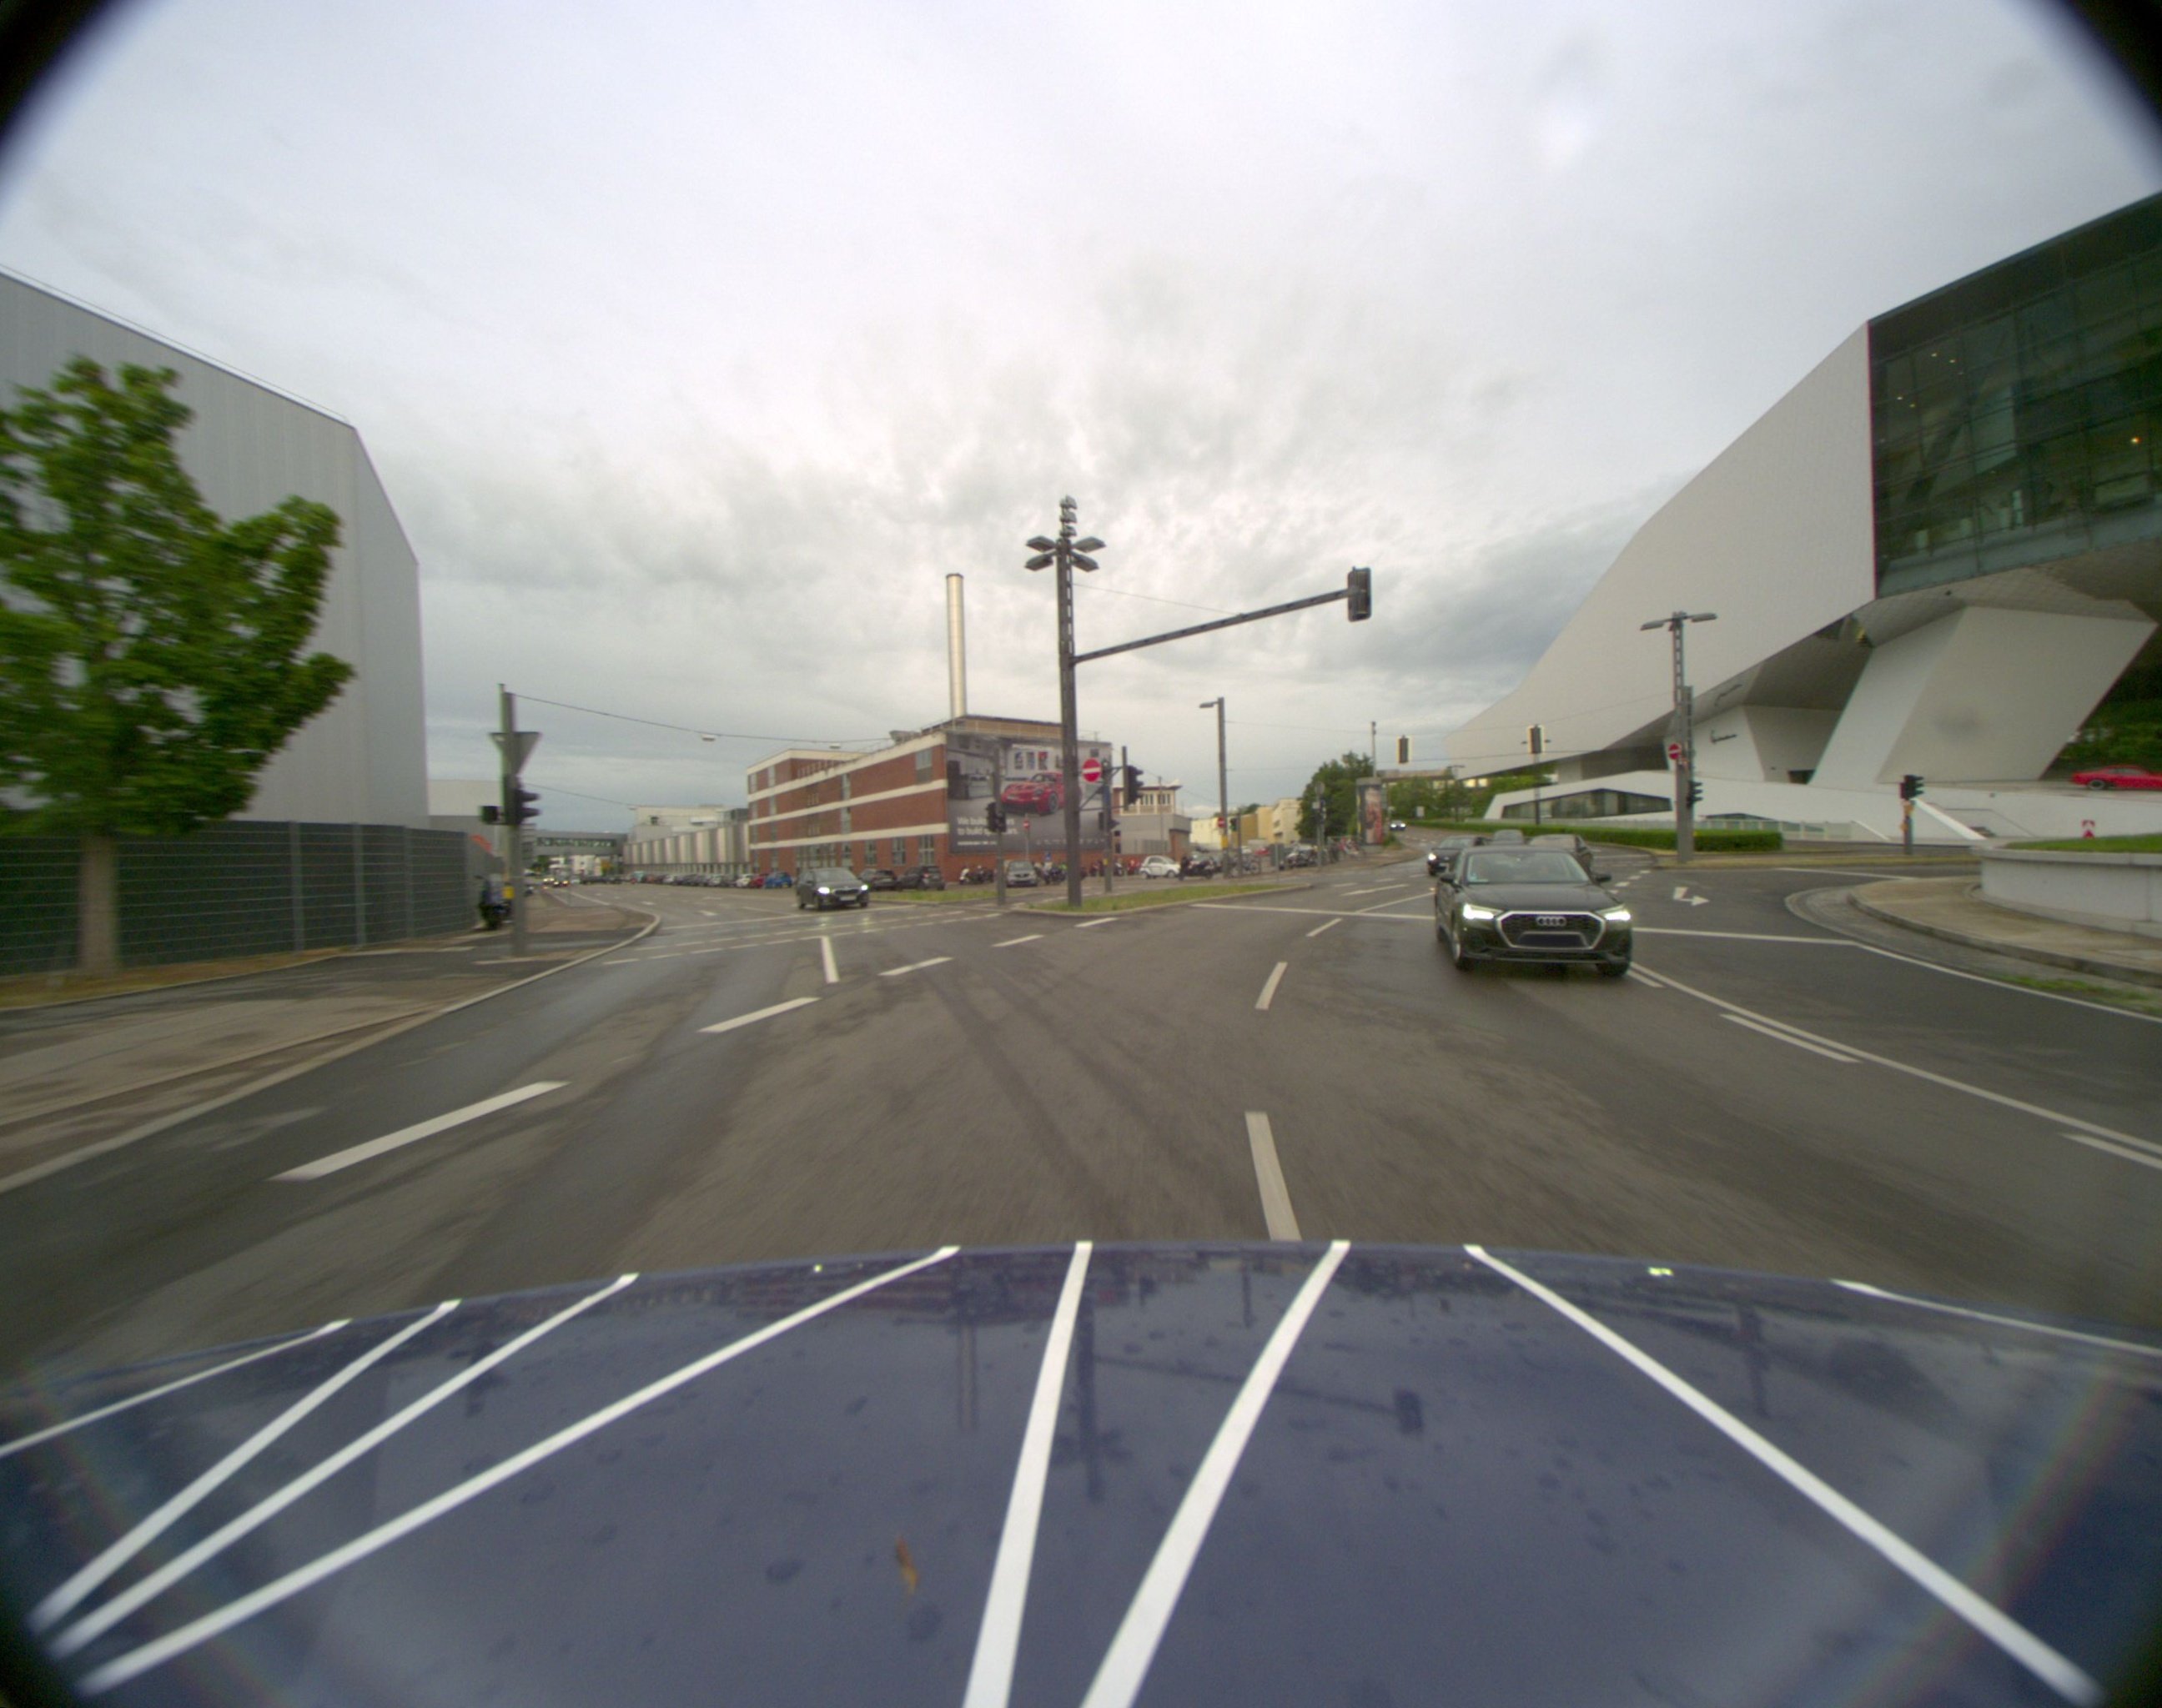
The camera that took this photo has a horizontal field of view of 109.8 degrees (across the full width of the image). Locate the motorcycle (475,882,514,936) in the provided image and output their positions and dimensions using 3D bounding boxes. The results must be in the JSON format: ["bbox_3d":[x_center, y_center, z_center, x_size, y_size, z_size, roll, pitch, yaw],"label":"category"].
[{"bbox_3d":[-15.311,1.401,19.875,0.656,1.303,2.096,-3,0,-35],"label":"motorcycle"}]

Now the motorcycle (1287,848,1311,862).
[{"bbox_3d":[16.126,0.076,56.237,1.615,0.917,0.421,-4,3,3],"label":"motorcycle"}]

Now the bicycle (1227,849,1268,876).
[{"bbox_3d":[8.268,0.412,37.708,2.075,1.124,0.420,-6,3,-25],"label":"bicycle"}]

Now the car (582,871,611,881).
[{"bbox_3d":[-84.982,3.831,133.351,4.007,1.550,1.610,-4,1,-39],"label":"car"}]

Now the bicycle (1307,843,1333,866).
[{"bbox_3d":[12.879,0.009,40.925,1.747,1.078,0.347,-6,4,-39],"label":"bicycle"}]

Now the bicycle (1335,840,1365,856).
[{"bbox_3d":[16.468,-0.377,46.515,1.612,0.916,0.422,-2,2,30],"label":"bicycle"}]

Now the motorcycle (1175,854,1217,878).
[{"bbox_3d":[5.865,0.639,38.982,2.089,1.139,0.489,-3,3,39],"label":"motorcycle"}]

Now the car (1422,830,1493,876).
[{"bbox_3d":[14.880,-0.081,29.908,1.690,1.499,4.017,-2,3,37],"label":"car"}]

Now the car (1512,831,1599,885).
[{"bbox_3d":[16.169,0.099,25.804,1.813,1.431,4.309,-2,3,41],"label":"car"}]

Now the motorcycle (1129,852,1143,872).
[{"bbox_3d":[4.070,0.605,56.350,0.523,1.326,1.671,-4,3,18],"label":"motorcycle"}]

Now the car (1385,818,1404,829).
[{"bbox_3d":[45.995,-4.519,111.472,1.815,1.430,4.306,-2,0,12],"label":"car"}]

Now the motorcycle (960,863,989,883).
[{"bbox_3d":[-6.810,1.187,48.593,1.650,1.105,0.543,-6,3,-28],"label":"motorcycle"}]

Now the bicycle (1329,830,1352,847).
[{"bbox_3d":[18.363,-1.101,53.752,1.542,1.149,0.451,-1,4,13],"label":"bicycle"}]

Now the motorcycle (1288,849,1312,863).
[{"bbox_3d":[15.861,0.154,55.059,1.615,0.917,0.421,-4,3,5],"label":"motorcycle"}]

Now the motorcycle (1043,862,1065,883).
[{"bbox_3d":[-1.572,1.046,43.490,0.495,1.140,1.720,-6,3,-27],"label":"motorcycle"}]

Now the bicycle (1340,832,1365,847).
[{"bbox_3d":[18.916,-1.004,52.901,1.705,0.917,0.485,-3,3,-18],"label":"bicycle"}]

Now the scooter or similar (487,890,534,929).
[{"bbox_3d":[-16.528,1.608,22.045,0.385,1.023,1.270,-3,0,-2],"label":"scooter or similar"}]

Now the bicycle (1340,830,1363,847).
[{"bbox_3d":[18.467,-1.075,51.947,1.463,1.068,0.442,-3,4,-13],"label":"bicycle"}]

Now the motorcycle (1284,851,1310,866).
[{"bbox_3d":[14.939,0.307,52.568,1.614,0.917,0.482,-4,3,11],"label":"motorcycle"}]

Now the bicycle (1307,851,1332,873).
[{"bbox_3d":[13.098,0.447,41.669,1.747,1.078,0.347,-6,4,-39],"label":"bicycle"}]

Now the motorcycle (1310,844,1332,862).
[{"bbox_3d":[13.712,-0.074,43.370,0.546,0.890,1.747,-1,4,41],"label":"motorcycle"}]

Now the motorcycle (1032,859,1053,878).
[{"bbox_3d":[-2.514,0.938,49.576,0.545,1.174,1.709,-6,3,-32],"label":"motorcycle"}]

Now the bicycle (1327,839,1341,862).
[{"bbox_3d":[14.376,-0.234,43.109,0.399,1.169,2.018,-2,3,27],"label":"bicycle"}]

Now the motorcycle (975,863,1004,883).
[{"bbox_3d":[-5.786,1.168,48.032,1.604,1.114,0.543,-6,3,-28],"label":"motorcycle"}]

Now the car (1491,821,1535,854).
[{"bbox_3d":[22.991,-0.895,40.540,1.746,1.466,4.074,-3,2,27],"label":"car"}]

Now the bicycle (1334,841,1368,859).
[{"bbox_3d":[15.625,-0.229,43.967,1.741,0.956,0.422,-2,3,26],"label":"bicycle"}]

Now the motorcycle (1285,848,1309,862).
[{"bbox_3d":[16.242,0.067,57.084,1.615,0.917,0.421,-4,3,3],"label":"motorcycle"}]

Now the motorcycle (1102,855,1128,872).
[{"bbox_3d":[2.414,0.689,54.354,1.716,1.146,0.586,-3,3,33],"label":"motorcycle"}]

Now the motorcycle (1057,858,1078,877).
[{"bbox_3d":[-0.921,0.872,51.196,0.545,1.231,1.803,-3,1,-32],"label":"motorcycle"}]

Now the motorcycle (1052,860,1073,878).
[{"bbox_3d":[-1.241,0.997,50.068,0.477,1.113,1.805,-6,3,-30],"label":"motorcycle"}]

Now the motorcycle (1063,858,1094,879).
[{"bbox_3d":[-0.128,0.882,46.193,1.868,1.105,0.543,-6,3,-36],"label":"motorcycle"}]
